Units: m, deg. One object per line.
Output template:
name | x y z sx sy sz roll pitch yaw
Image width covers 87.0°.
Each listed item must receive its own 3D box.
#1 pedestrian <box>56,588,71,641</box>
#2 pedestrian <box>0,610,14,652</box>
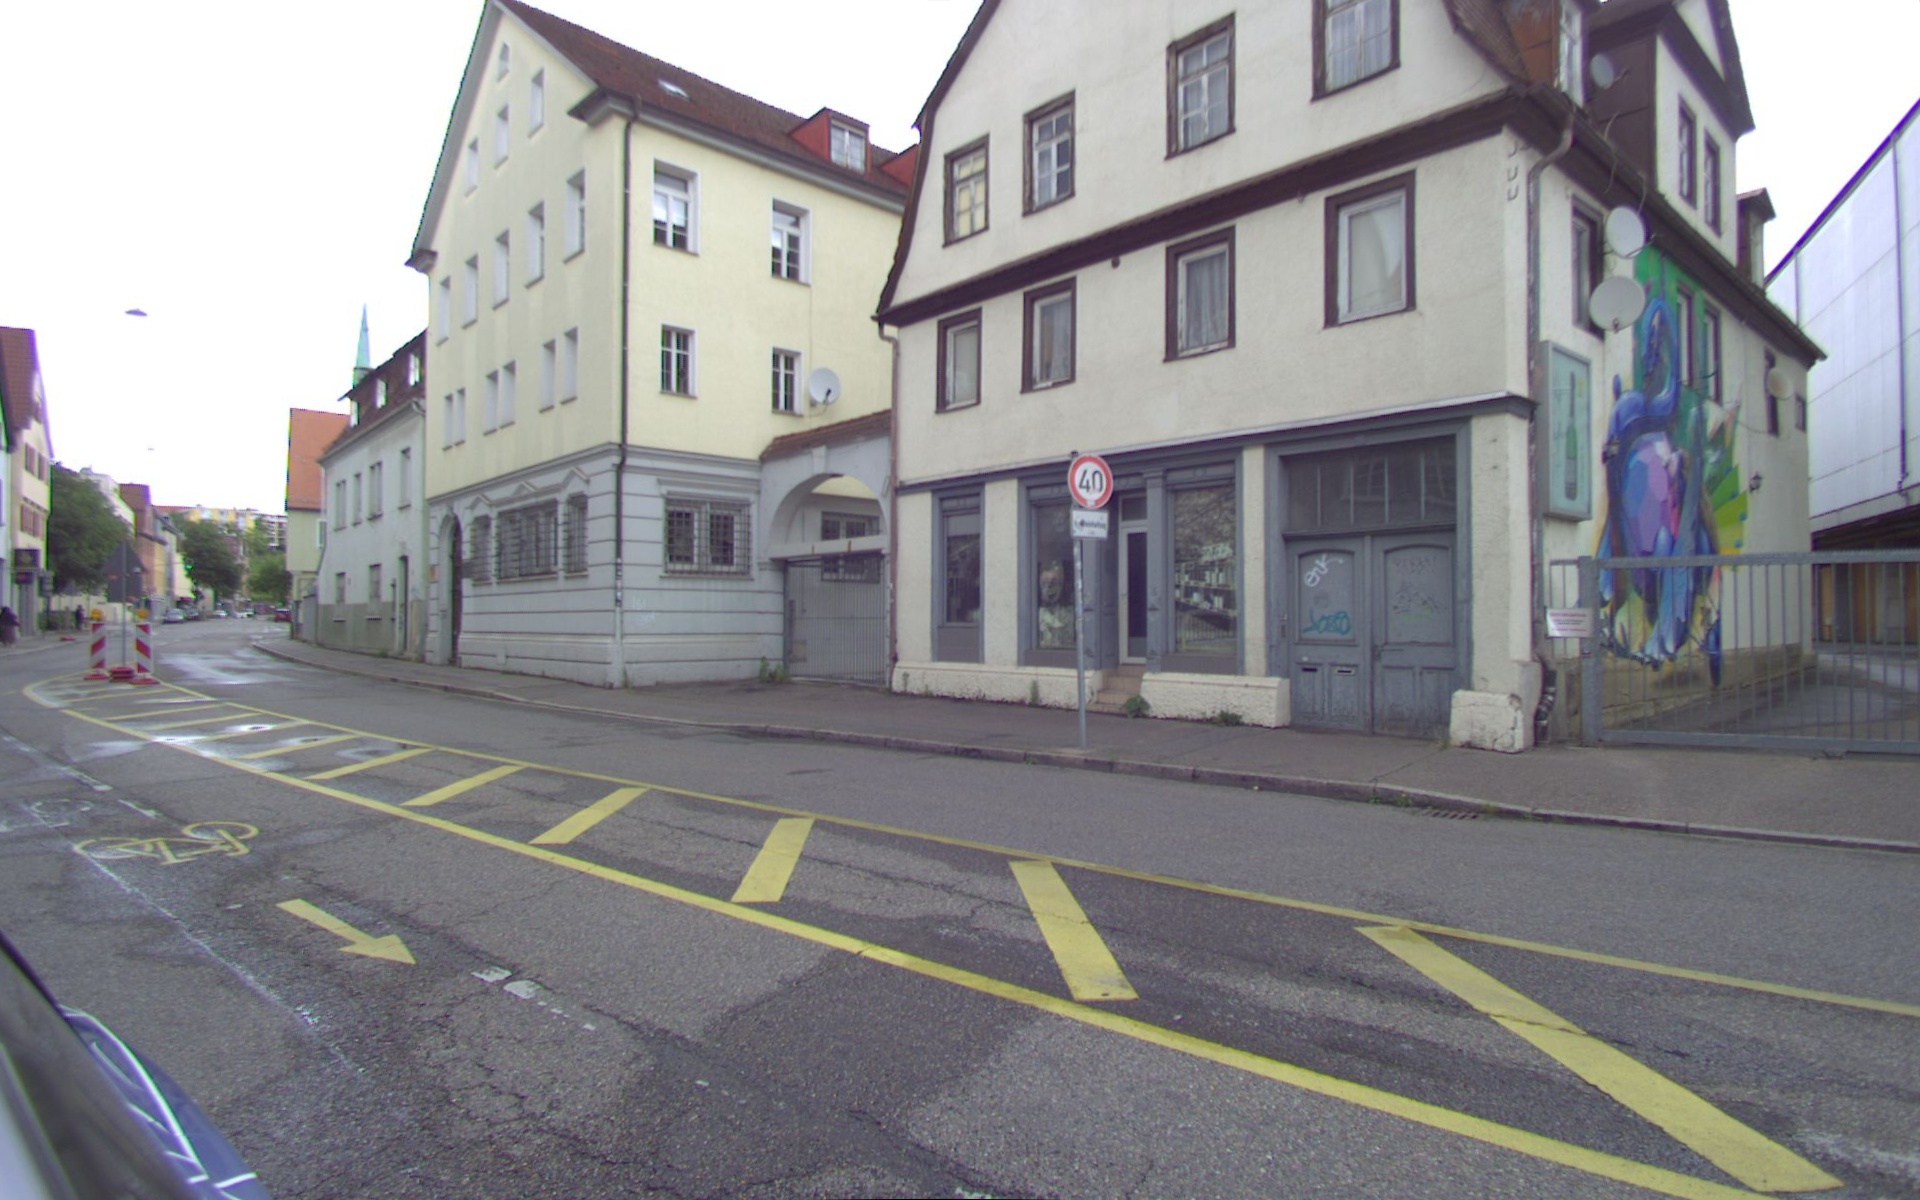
pedestrian | -43.775 0.721 49.428 0.487 2.547 0.747 1 -2 -38
pedestrian | -37.755 1.220 39.808 0.714 1.626 0.650 1 -2 -36
